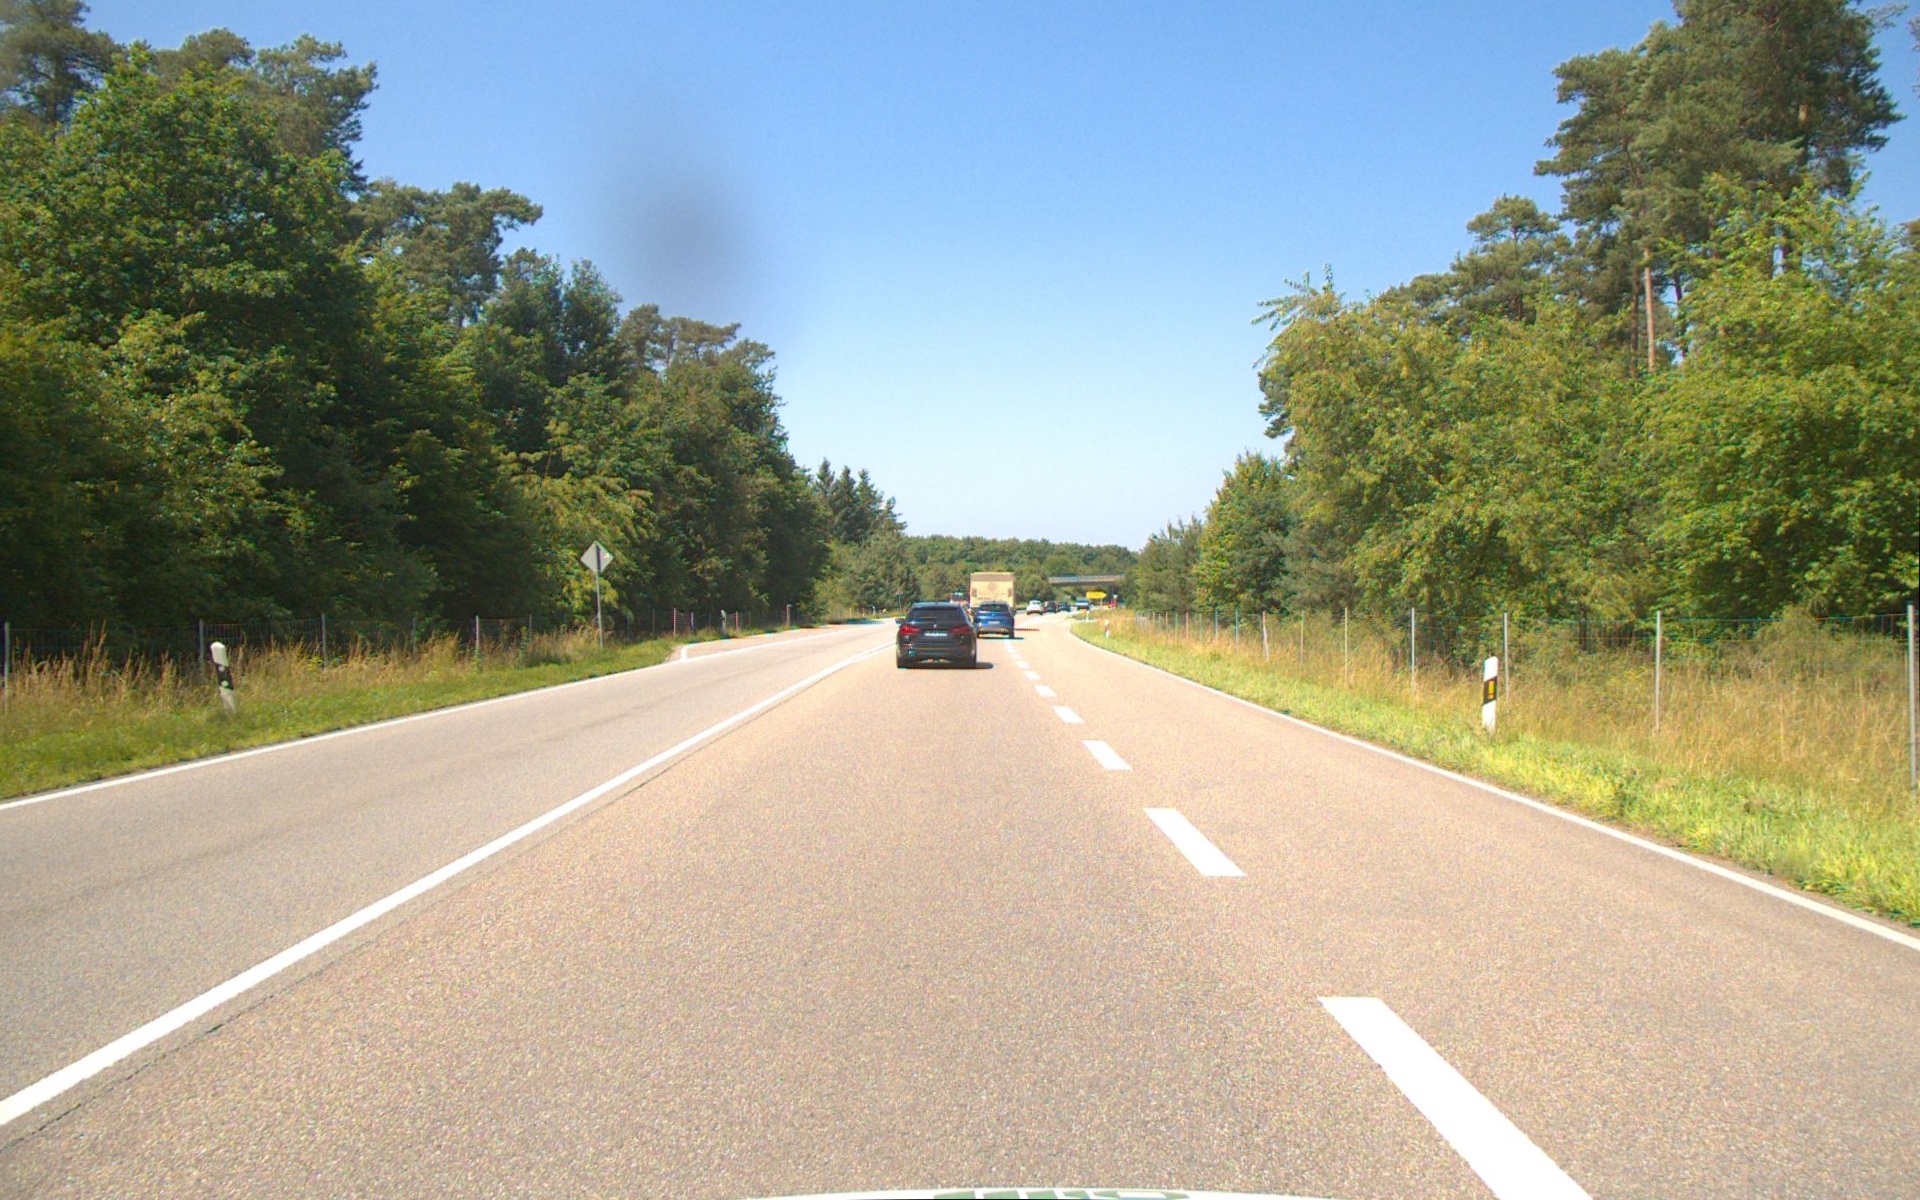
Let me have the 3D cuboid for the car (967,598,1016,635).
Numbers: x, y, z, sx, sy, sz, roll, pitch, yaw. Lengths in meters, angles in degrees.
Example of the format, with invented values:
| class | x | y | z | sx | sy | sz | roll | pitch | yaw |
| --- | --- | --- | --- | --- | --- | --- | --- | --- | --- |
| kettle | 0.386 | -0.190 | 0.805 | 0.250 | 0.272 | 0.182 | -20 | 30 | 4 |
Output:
| class | x | y | z | sx | sy | sz | roll | pitch | yaw |
| --- | --- | --- | --- | --- | --- | --- | --- | --- | --- |
| car | 1.374 | 0.714 | 73.404 | 1.908 | 1.569 | 3.998 | -1 | 0 | -2 |

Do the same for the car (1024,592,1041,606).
| class | x | y | z | sx | sy | sz | roll | pitch | yaw |
| --- | --- | --- | --- | --- | --- | --- | --- | --- | --- |
| car | 8.682 | -0.128 | 198.200 | 1.825 | 1.633 | 4.000 | -1 | 0 | 0 |

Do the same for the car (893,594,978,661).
| class | x | y | z | sx | sy | sz | roll | pitch | yaw |
| --- | --- | --- | --- | --- | --- | --- | --- | --- | --- |
| car | -0.625 | 0.604 | 38.605 | 1.784 | 1.496 | 3.997 | 0 | 0 | -4 |

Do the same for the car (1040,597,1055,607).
| class | x | y | z | sx | sy | sz | roll | pitch | yaw |
| --- | --- | --- | --- | --- | --- | --- | --- | --- | --- |
| car | 12.035 | 0.267 | 227.774 | 1.952 | 1.445 | 4.001 | 1 | 0 | 2 |

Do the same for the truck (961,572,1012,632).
| class | x | y | z | sx | sy | sz | roll | pitch | yaw |
| --- | --- | --- | --- | --- | --- | --- | --- | --- | --- |
| truck | 1.591 | 0.092 | 97.428 | 2.904 | 3.447 | 6.439 | 0 | 0 | 1 |

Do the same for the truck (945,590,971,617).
| class | x | y | z | sx | sy | sz | roll | pitch | yaw |
| --- | --- | --- | --- | --- | --- | --- | --- | --- | --- |
| truck | -0.200 | 0.335 | 175.141 | 2.348 | 2.770 | 6.554 | 1 | 0 | 3 |

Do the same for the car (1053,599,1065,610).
| class | x | y | z | sx | sy | sz | roll | pitch | yaw |
| --- | --- | --- | --- | --- | --- | --- | --- | --- | --- |
| car | 15.308 | 0.642 | 255.611 | 1.952 | 1.665 | 4.002 | -1 | 0 | 3 |
